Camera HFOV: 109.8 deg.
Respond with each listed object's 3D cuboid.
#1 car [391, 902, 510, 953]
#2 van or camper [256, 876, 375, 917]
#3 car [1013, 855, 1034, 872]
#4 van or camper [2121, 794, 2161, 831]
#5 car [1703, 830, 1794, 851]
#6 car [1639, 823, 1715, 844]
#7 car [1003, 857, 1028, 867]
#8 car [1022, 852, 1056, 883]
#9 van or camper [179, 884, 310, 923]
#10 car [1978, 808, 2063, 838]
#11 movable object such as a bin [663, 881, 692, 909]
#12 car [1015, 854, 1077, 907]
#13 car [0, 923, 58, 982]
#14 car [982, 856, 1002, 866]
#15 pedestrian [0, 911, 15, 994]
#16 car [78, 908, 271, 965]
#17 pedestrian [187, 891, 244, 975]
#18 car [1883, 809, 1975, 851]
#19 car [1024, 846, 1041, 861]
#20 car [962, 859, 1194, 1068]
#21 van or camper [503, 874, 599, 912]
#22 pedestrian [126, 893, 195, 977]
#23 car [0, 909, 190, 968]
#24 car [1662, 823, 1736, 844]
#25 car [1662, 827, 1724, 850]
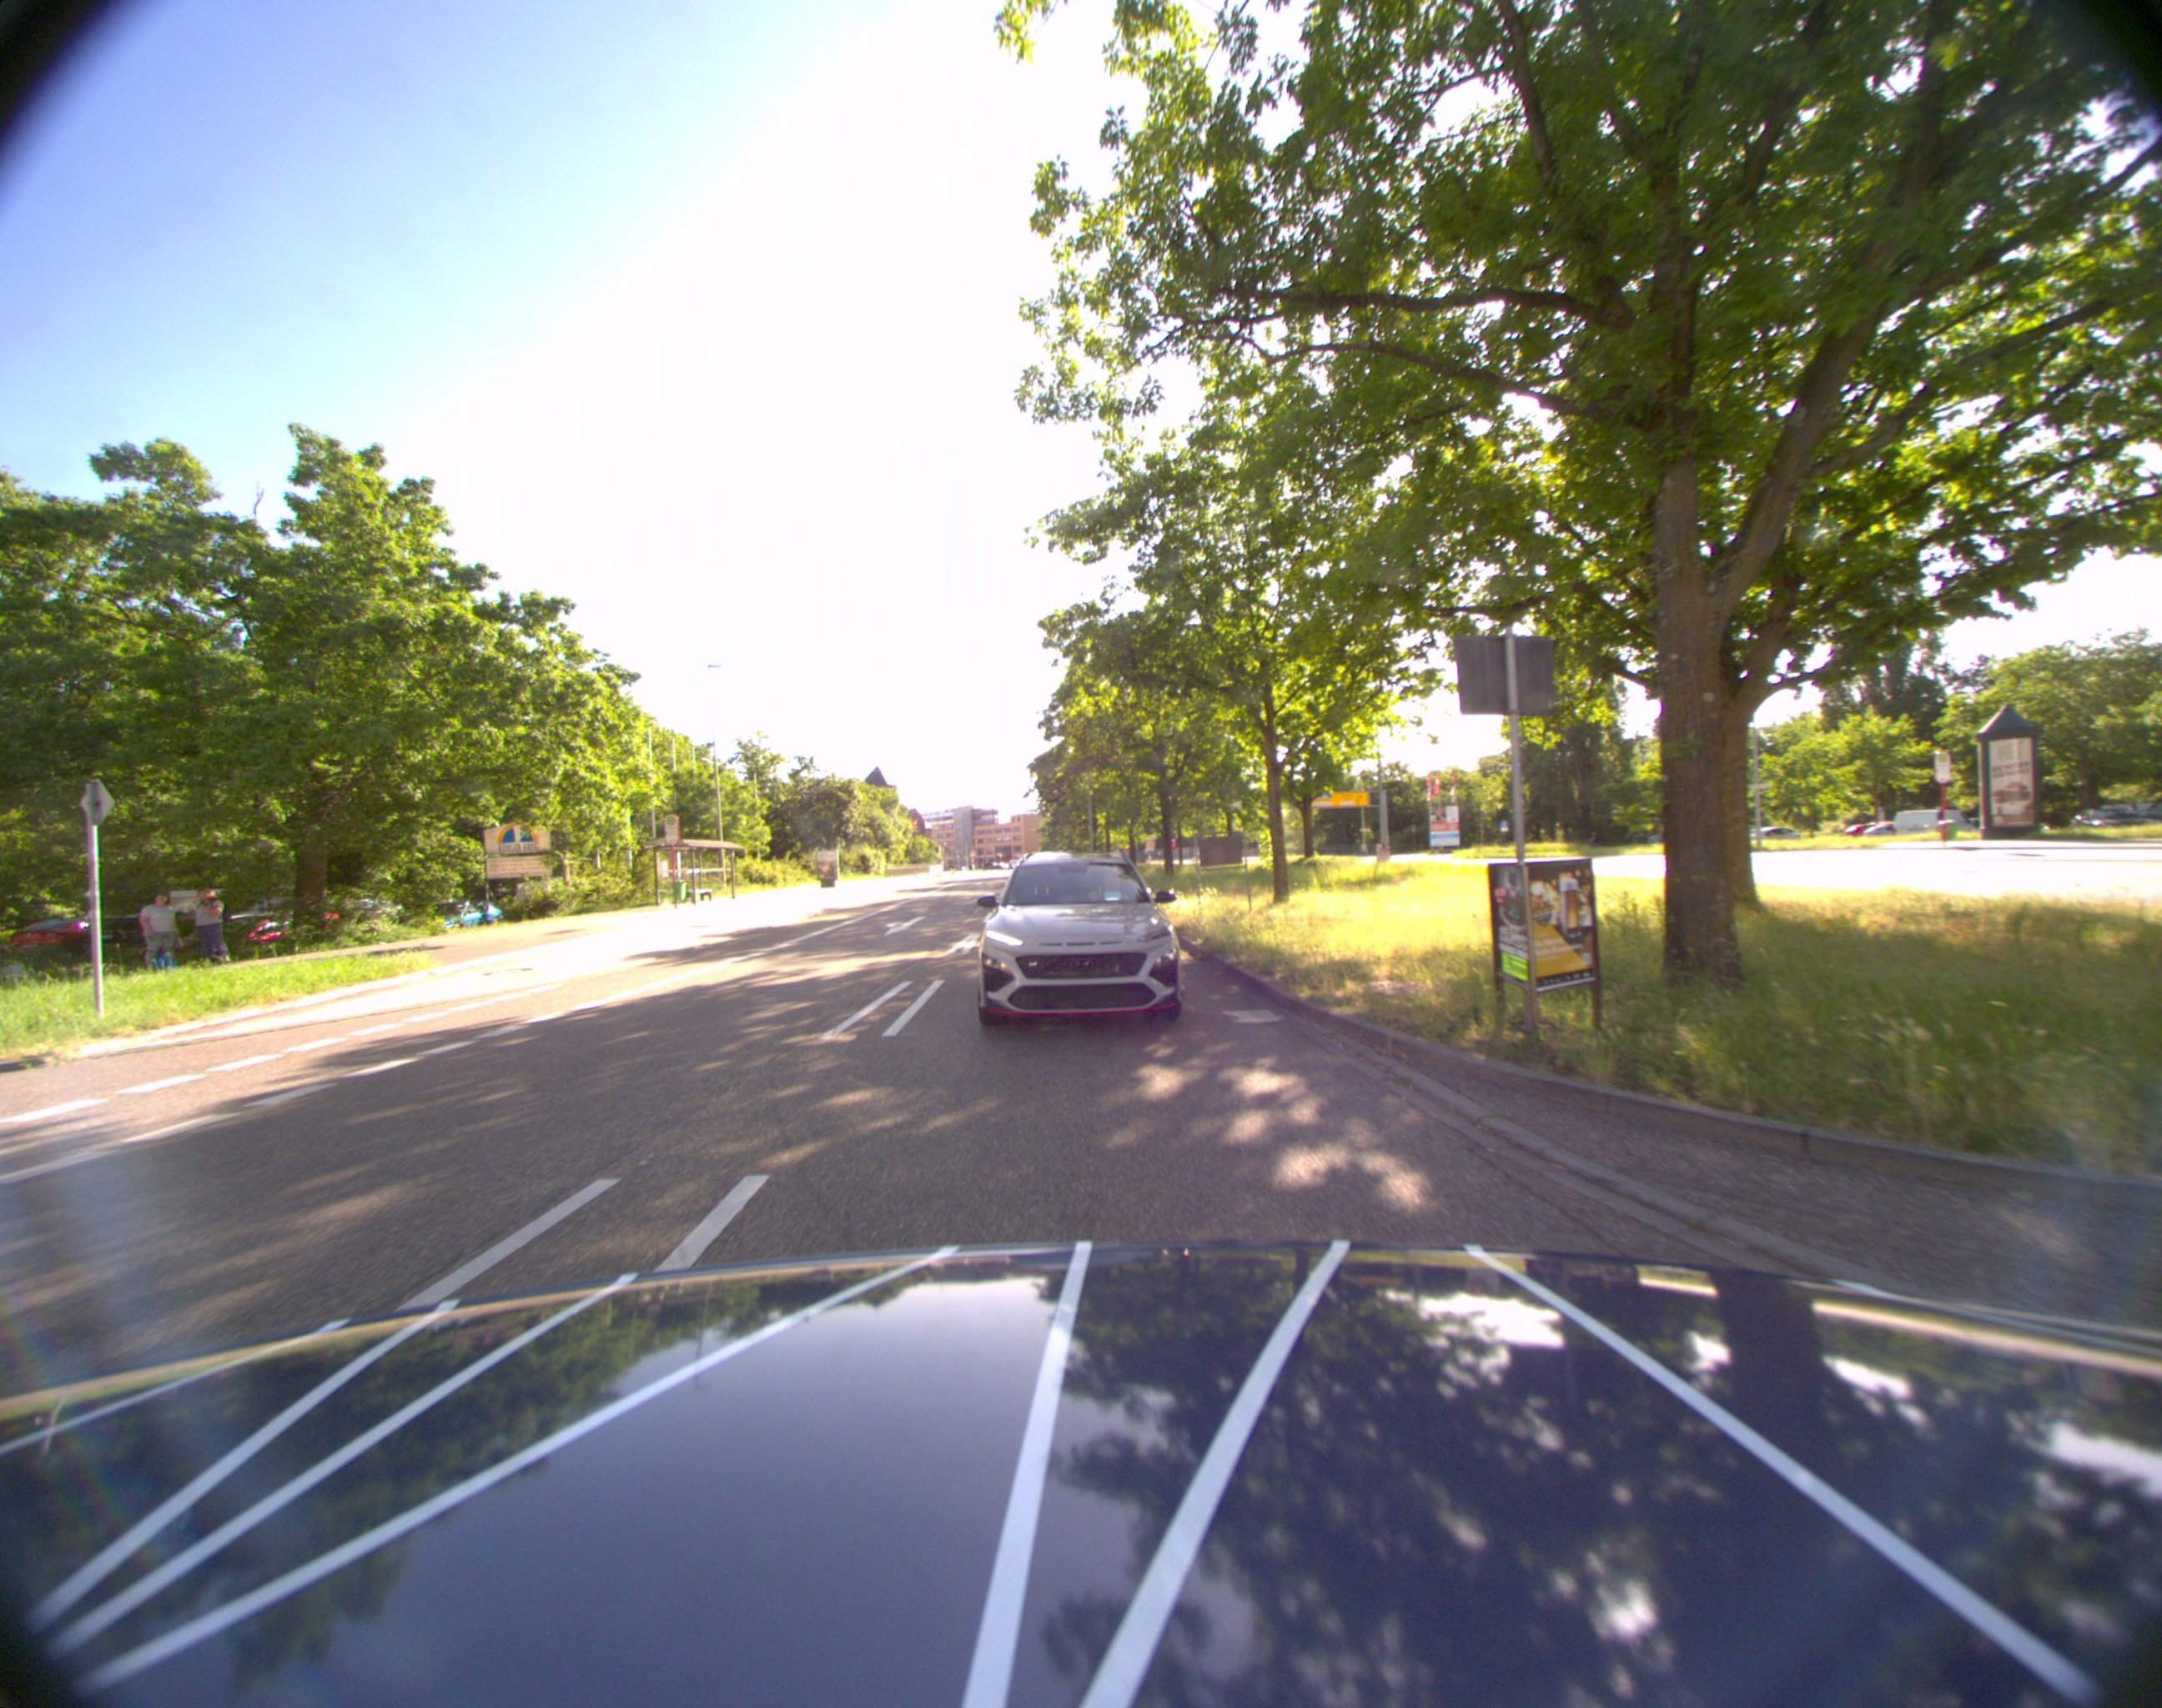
[{"bbox_3d":[-25.224,2.898,30.588,1.767,1.628,3.612,-3,0,-2],"label":"car"},{"bbox_3d":[-47.193,2.567,47.067,2.459,2.146,5.323,-3,0,-10],"label":"van or camper"},{"bbox_3d":[-5.273,0.836,69.523,1.783,1.397,3.998,-3,0,-5],"label":"car"},{"bbox_3d":[62.183,-2.406,42.667,1.997,2.084,4.405,-3,0,12],"label":"van or camper"},{"bbox_3d":[41.819,-0.841,47.689,1.822,1.122,3.996,-3,0,-11],"label":"car"},{"bbox_3d":[49.813,-1.672,63.595,2.003,1.456,4.546,-5,1,-34],"label":"car"},{"bbox_3d":[-10.180,1.263,117.809,1.834,1.464,3.990,-3,1,-39],"label":"car"},{"bbox_3d":[-2.196,0.711,40.924,1.678,1.499,3.948,-3,0,-2],"label":"car"},{"bbox_3d":[-50.893,2.955,46.450,2.458,1.902,5.323,-3,0,-8],"label":"van or camper"},{"bbox_3d":[46.568,-1.545,37.658,4.005,1.275,1.996,-3,1,-30],"label":"car"},{"bbox_3d":[-15.217,1.541,28.681,0.728,1.024,0.578,-3,1,-4],"label":"movable object such as a bin"},{"bbox_3d":[-1.071,0.806,25.188,1.744,1.539,4.000,-3,0,1],"label":"car"},{"bbox_3d":[-30.102,2.725,19.149,1.999,1.528,4.890,-4,-2,-1],"label":"car"},{"bbox_3d":[-17.982,1.418,153.882,3.999,1.622,1.999,-3,0,-5],"label":"car"},{"bbox_3d":[-20.225,1.834,13.879,0.529,1.509,0.613,-3,1,-1],"label":"pedestrian"},{"bbox_3d":[-34.895,3.116,29.515,1.757,1.739,4.779,-4,-2,-1],"label":"car"},{"bbox_3d":[-18.152,1.646,15.947,0.604,1.690,0.410,-3,1,-4],"label":"pedestrian"},{"bbox_3d":[45.469,-1.288,40.702,5.007,2.002,2.234,-3,0,-30],"label":"car"},{"bbox_3d":[-6.088,-0.034,95.274,1.744,1.538,4.003,-4,-4,1],"label":"car"},{"bbox_3d":[-0.072,0.887,8.063,1.780,1.542,3.979,-3,0,-2],"label":"car"},{"bbox_3d":[-31.595,2.278,45.536,2.458,1.902,5.323,-3,0,-8],"label":"van or camper"},{"bbox_3d":[-18.702,1.632,15.449,0.623,1.625,0.551,-3,1,-3],"label":"pedestrian"},{"bbox_3d":[-37.285,3.129,28.870,1.998,1.587,3.999,-4,1,0],"label":"car"},{"bbox_3d":[53.053,-1.742,65.304,2.003,1.456,4.546,-5,1,-34],"label":"car"},{"bbox_3d":[42.029,-1.065,52.313,1.819,1.440,4.004,-3,0,15],"label":"car"}]
